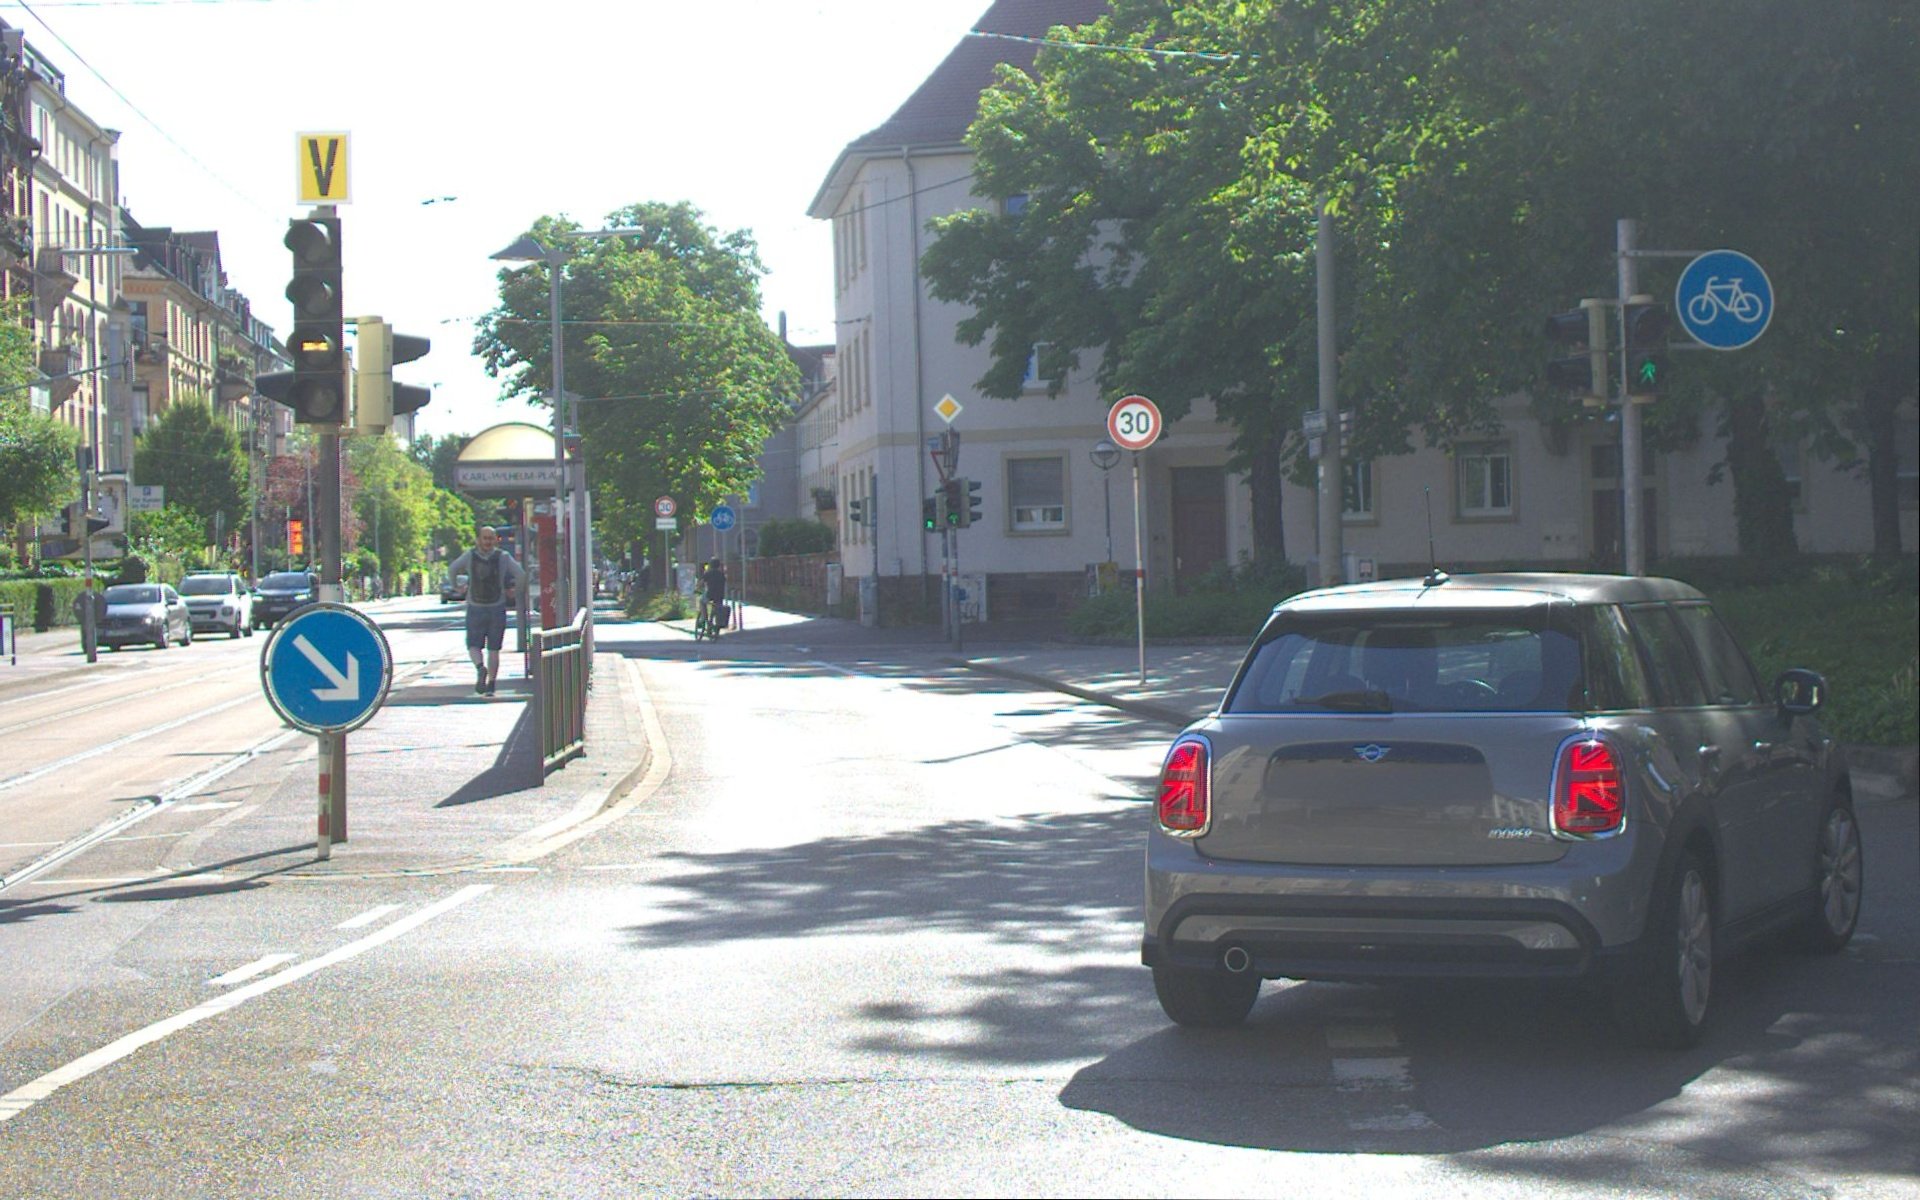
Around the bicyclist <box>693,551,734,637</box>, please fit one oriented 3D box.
[{"bbox_3d":[-5.263,-0.125,73.425,0.817,1.805,1.059,0,0,-6],"label":"bicyclist"}]

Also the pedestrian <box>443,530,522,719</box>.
[{"bbox_3d":[-5.116,0.258,36.862,0.795,2.007,0.740,0,0,-5],"label":"pedestrian"}]

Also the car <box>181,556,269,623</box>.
[{"bbox_3d":[-18.059,-0.254,84.600,1.775,1.612,4.001,0,0,-7],"label":"car"}]

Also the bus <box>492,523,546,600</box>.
[{"bbox_3d":[-20.455,-1.754,159.201,2.385,3.484,7.386,0,0,-8],"label":"bus"}]

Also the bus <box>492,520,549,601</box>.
[{"bbox_3d":[-19.427,-1.694,151.862,2.385,3.484,7.386,0,0,-8],"label":"bus"}]

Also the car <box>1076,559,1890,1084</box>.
[{"bbox_3d":[1.982,0.623,11.891,1.817,1.483,3.995,0,0,23],"label":"car"}]

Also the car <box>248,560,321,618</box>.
[{"bbox_3d":[-19.368,-0.302,98.711,1.775,1.612,4.001,0,0,-7],"label":"car"}]

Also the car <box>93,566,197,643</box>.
[{"bbox_3d":[-17.695,0.089,74.785,1.775,1.612,4.001,0,0,-7],"label":"car"}]

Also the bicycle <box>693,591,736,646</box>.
[{"bbox_3d":[-5.252,0.391,73.412,0.841,1.152,2.539,0,0,-6],"label":"bicycle"}]

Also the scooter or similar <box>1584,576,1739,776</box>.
[{"bbox_3d":[4.733,0.500,23.269,0.676,1.306,1.329,0,0,-5],"label":"scooter or similar"}]

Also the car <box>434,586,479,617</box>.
[{"bbox_3d":[-26.840,0.071,183.314,1.993,1.590,4.000,0,0,-3],"label":"car"}]
